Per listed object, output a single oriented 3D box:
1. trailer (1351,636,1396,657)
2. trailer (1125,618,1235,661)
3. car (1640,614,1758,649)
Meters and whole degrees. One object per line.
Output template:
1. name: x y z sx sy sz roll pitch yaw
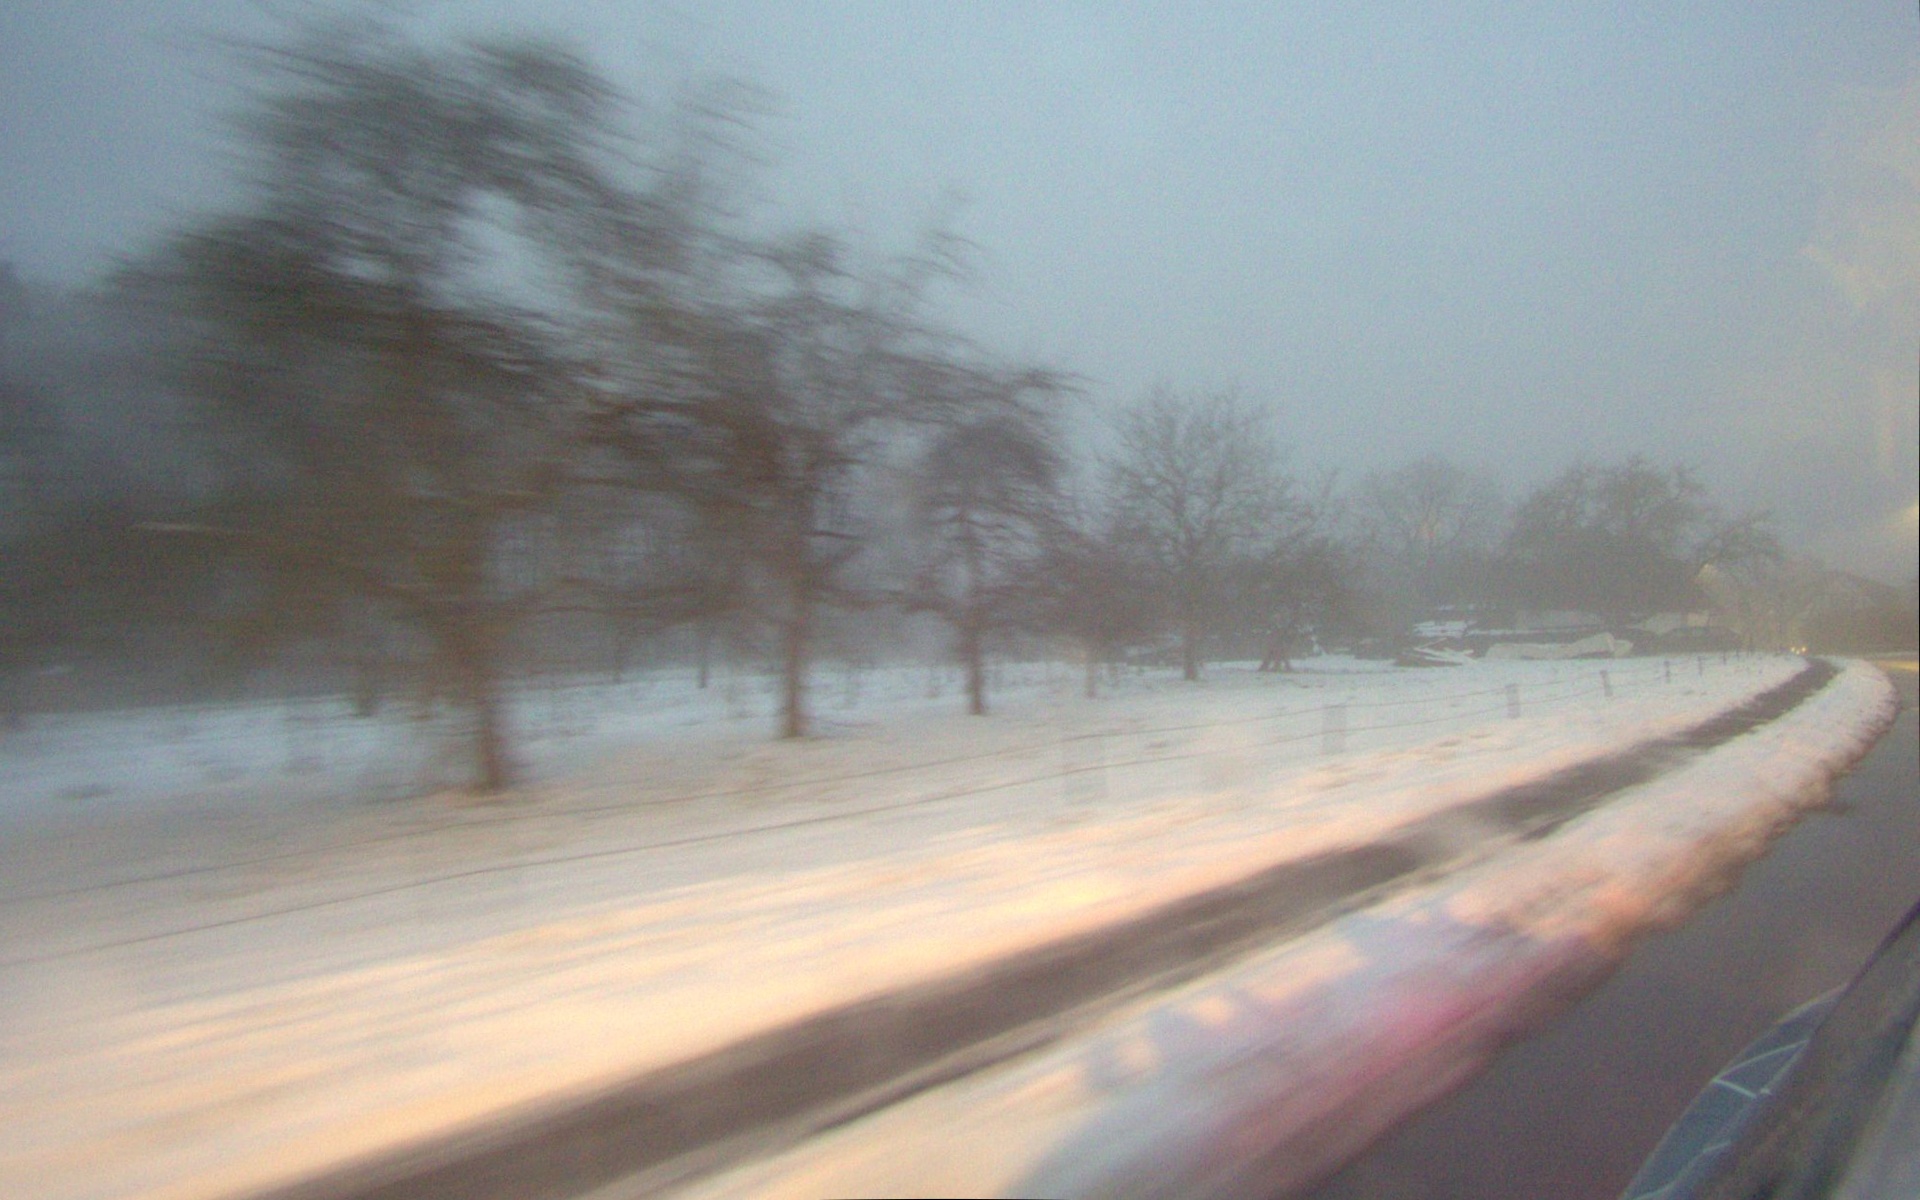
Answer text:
1. trailer: 21.667 2.402 52.974 1.832 0.958 3.625 2 -1 28
2. trailer: 10.558 1.932 48.635 4.722 1.968 2.197 -2 -4 34
3. car: 35.727 1.544 48.979 4.439 1.400 2.007 -6 -5 38
